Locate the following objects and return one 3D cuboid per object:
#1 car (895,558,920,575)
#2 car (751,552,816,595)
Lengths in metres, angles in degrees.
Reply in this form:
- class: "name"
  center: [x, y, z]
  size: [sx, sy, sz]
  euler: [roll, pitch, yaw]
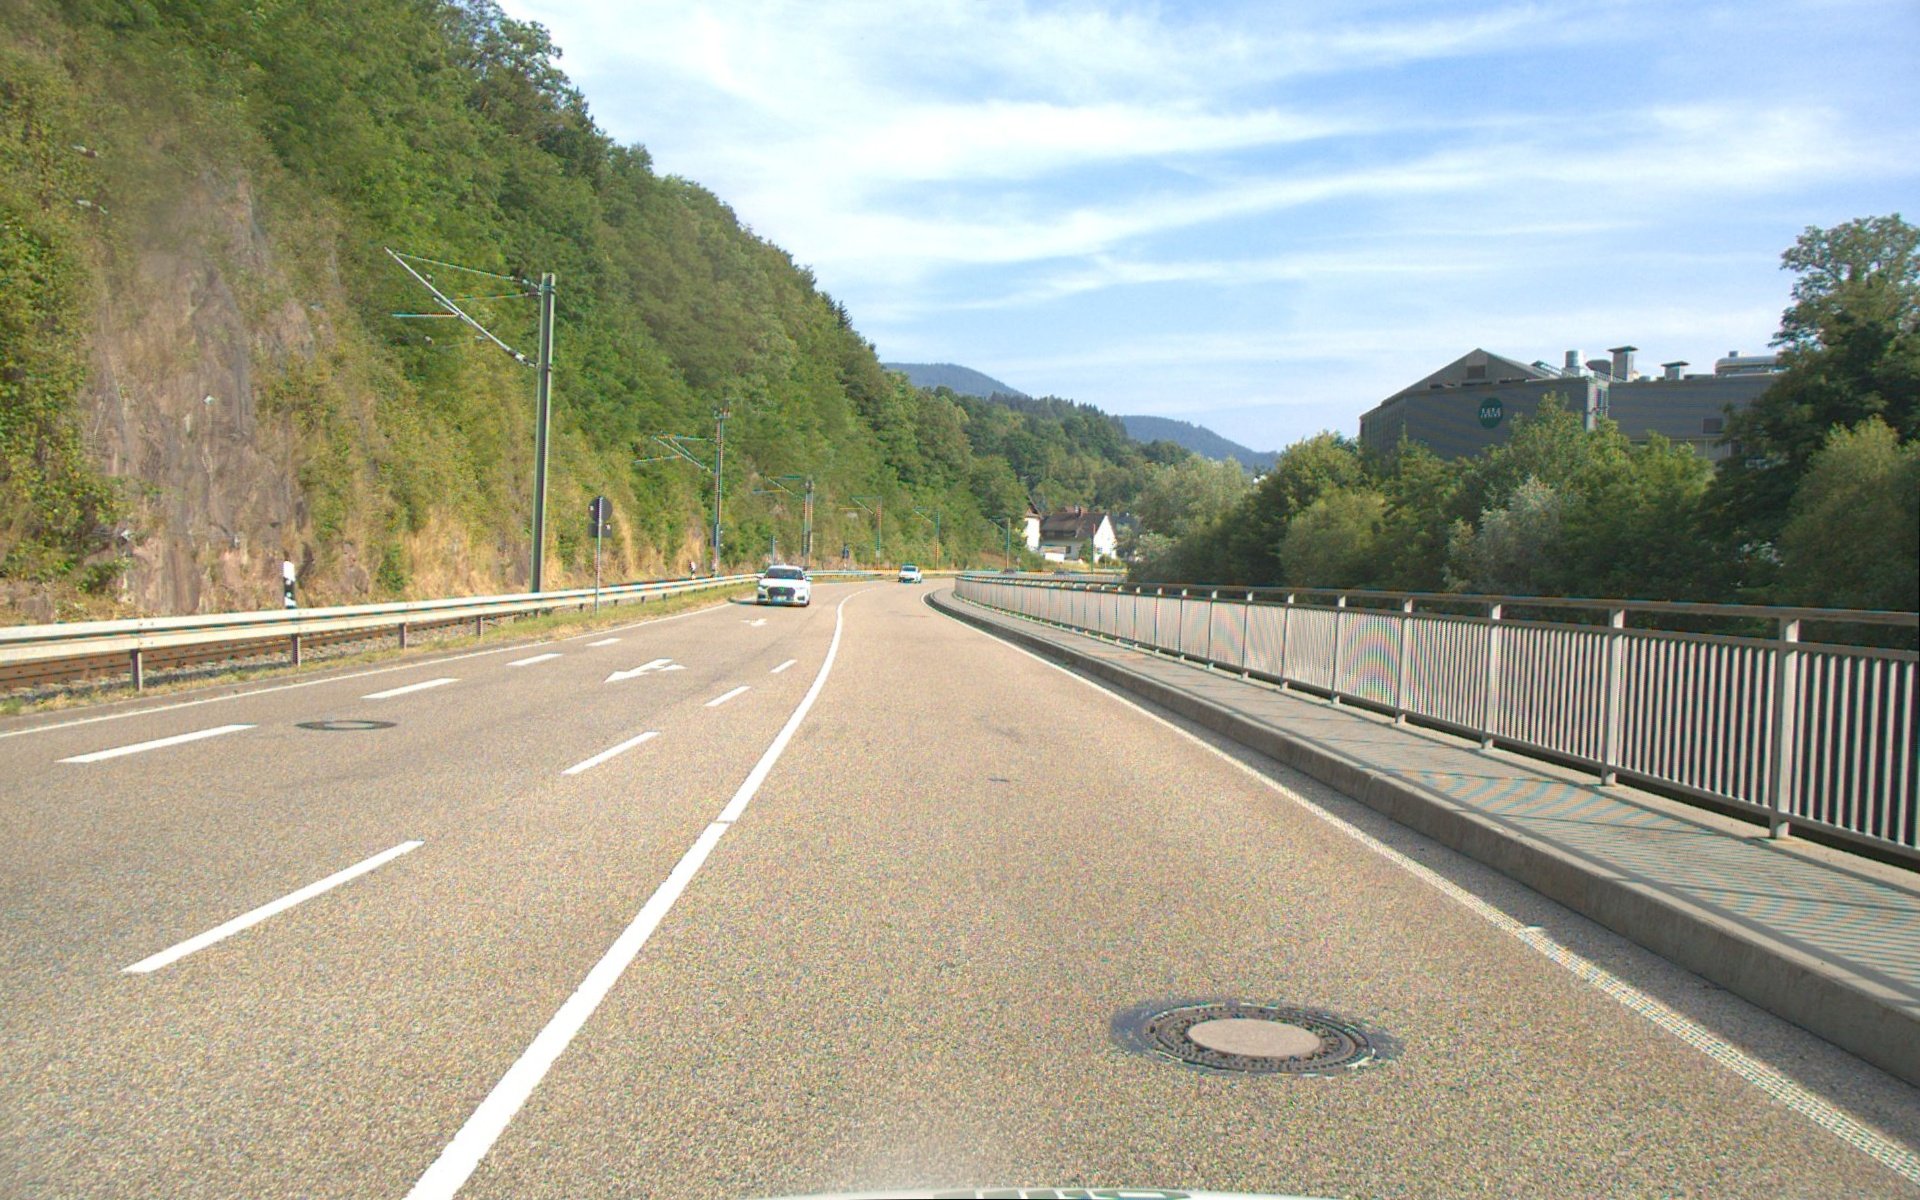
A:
- class: "car"
  center: [-4.946, -3.158, 155.867]
  size: [1.808, 1.571, 4.607]
  euler: [0, 1, 5]
- class: "car"
  center: [-6.553, -0.997, 61.906]
  size: [2.022, 1.464, 4.685]
  euler: [3, 1, -2]
